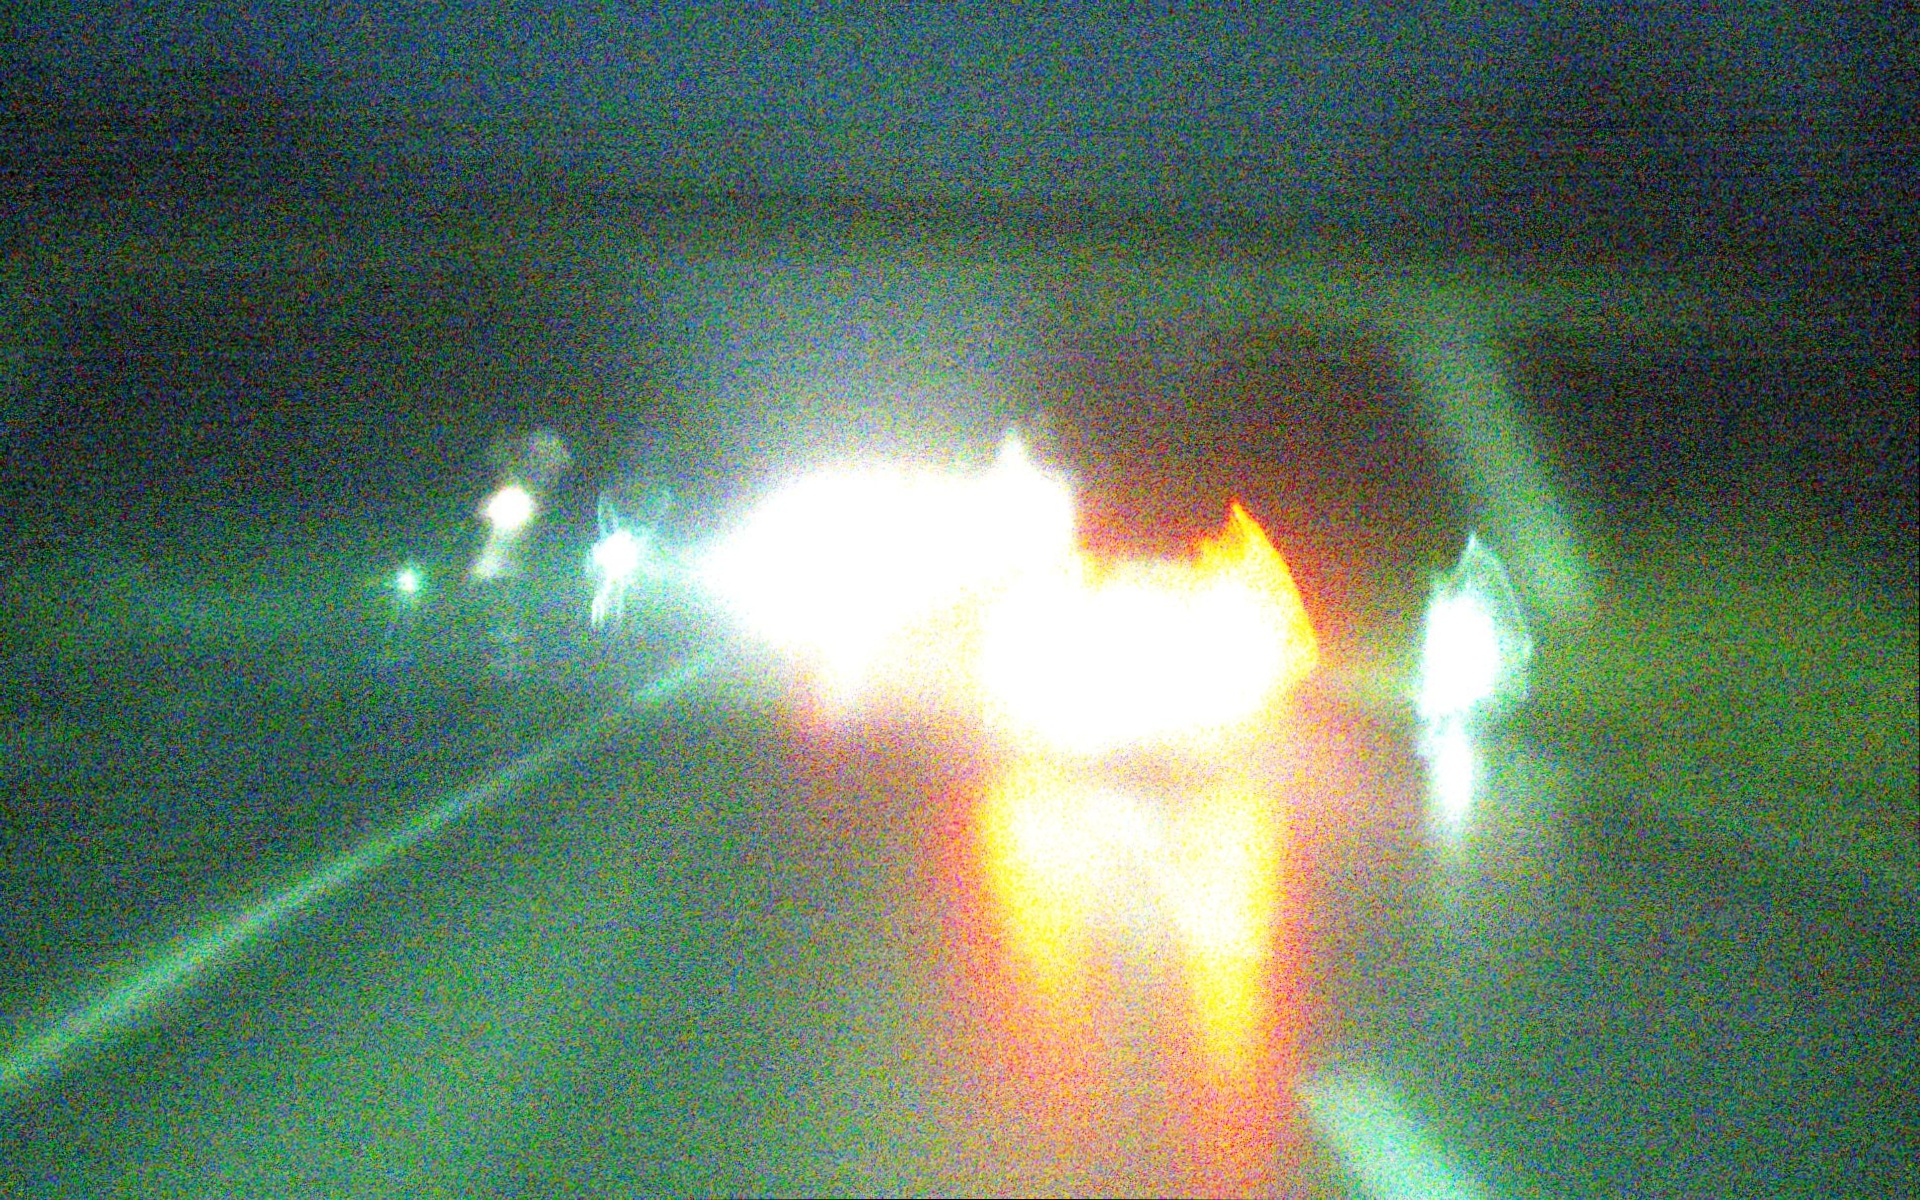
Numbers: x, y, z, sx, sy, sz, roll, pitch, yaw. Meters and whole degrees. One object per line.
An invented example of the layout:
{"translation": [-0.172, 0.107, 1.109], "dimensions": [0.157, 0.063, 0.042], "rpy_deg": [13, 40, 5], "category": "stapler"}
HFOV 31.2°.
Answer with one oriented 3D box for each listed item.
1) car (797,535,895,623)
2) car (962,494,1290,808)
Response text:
{"translation": [-2.157, -0.428, 65.564], "dimensions": [1.808, 1.616, 4.000], "rpy_deg": [0, 1, -2], "category": "car"}
{"translation": [1.075, 0.293, 24.213], "dimensions": [2.093, 2.007, 4.000], "rpy_deg": [1, 1, 0], "category": "car"}
